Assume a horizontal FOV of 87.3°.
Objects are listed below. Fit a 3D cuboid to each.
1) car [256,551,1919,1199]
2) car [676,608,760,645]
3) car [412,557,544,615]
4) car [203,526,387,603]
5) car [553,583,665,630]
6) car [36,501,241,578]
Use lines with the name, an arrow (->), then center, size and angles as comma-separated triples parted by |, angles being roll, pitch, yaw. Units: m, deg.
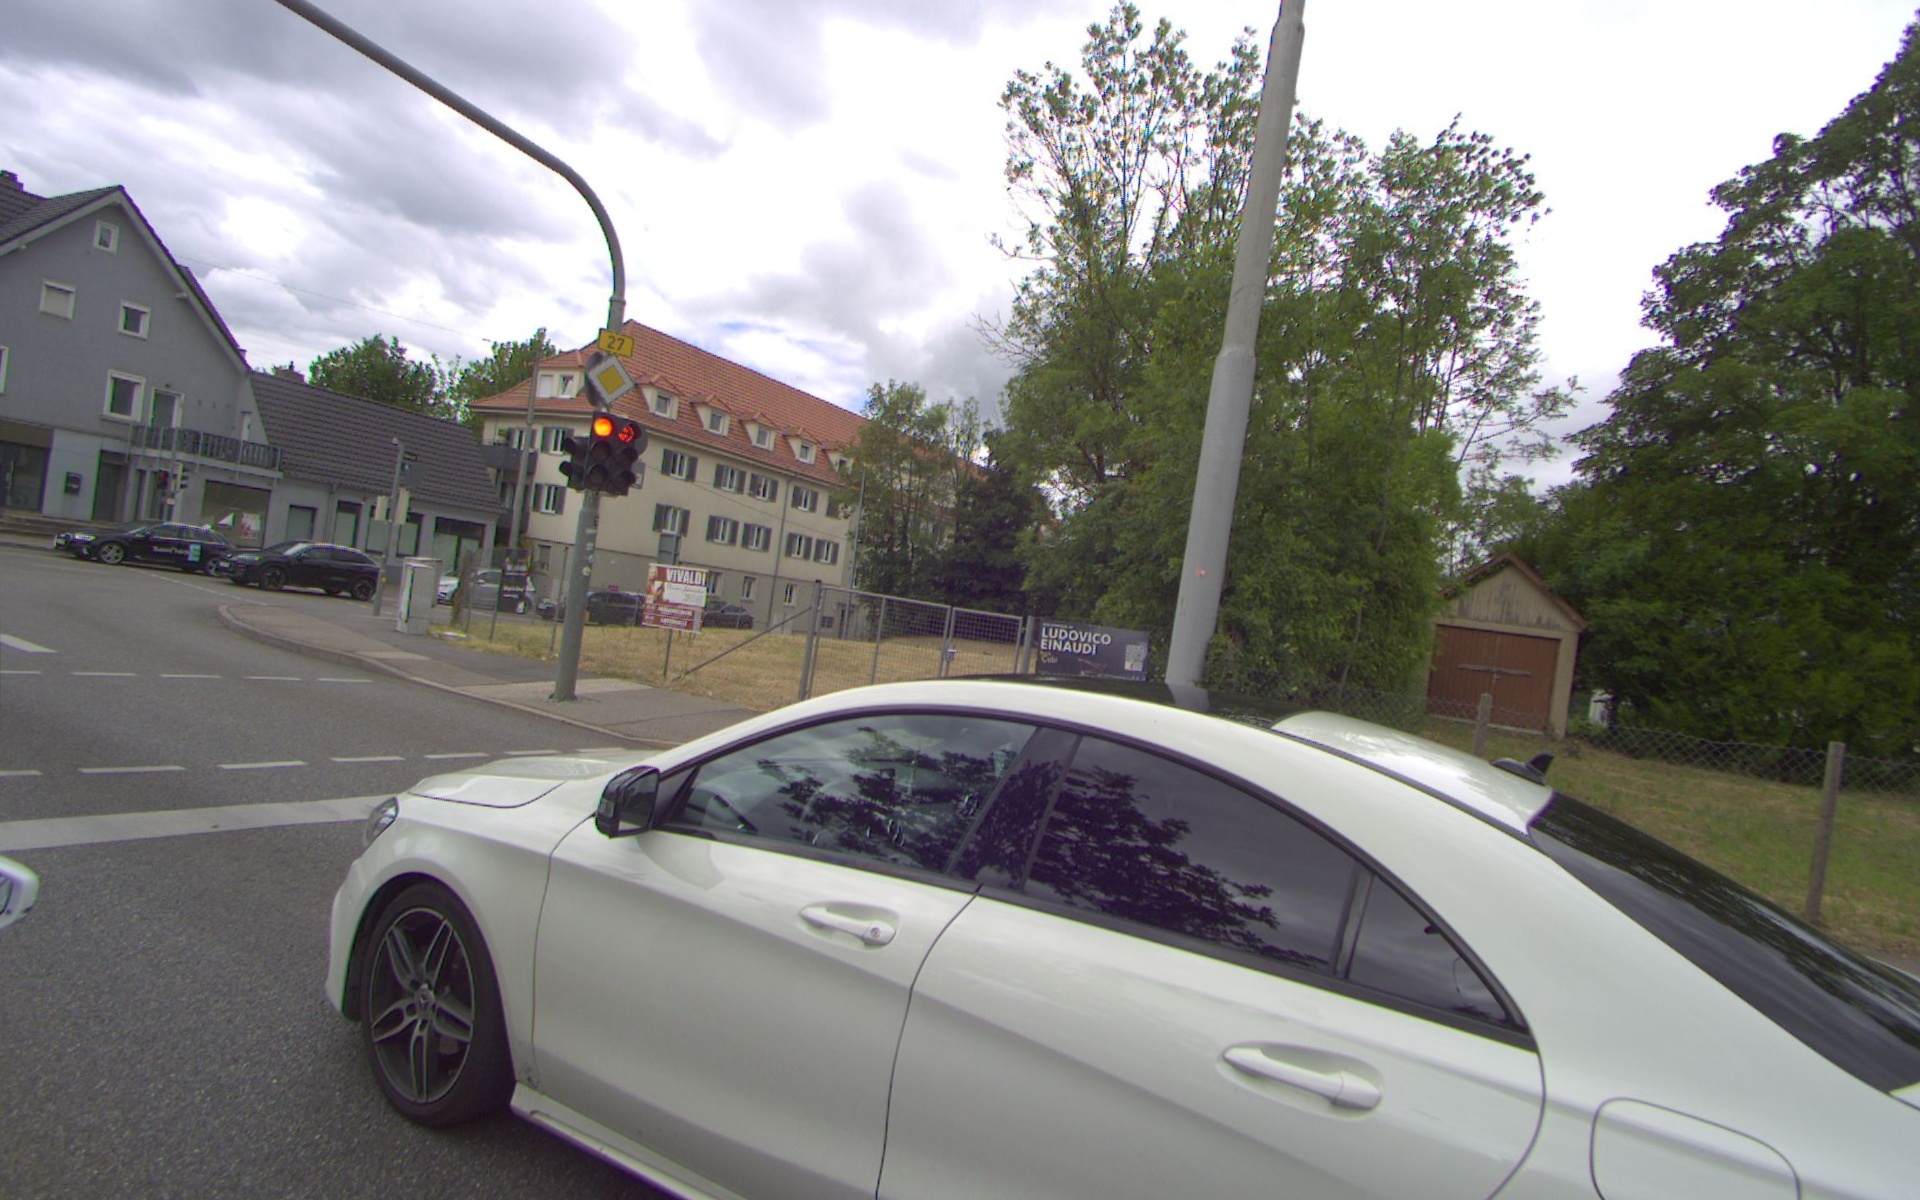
car -> 0.161, 0.847, 2.643 | 4.305, 1.451, 1.651 | 7, 0, 32
car -> -12.622, 1.401, 52.651 | 1.839, 1.393, 3.996 | 7, -2, 32
car -> -18.287, -0.483, 38.354 | 1.798, 1.557, 4.111 | 7, -3, 30
car -> -19.574, -0.984, 29.803 | 1.808, 1.537, 4.074 | 7, -3, 26
car -> -15.417, 0.319, 44.346 | 1.968, 1.494, 4.249 | 6, -2, 33
car -> -23.681, -1.701, 29.169 | 1.863, 1.511, 4.097 | 7, -2, 28
